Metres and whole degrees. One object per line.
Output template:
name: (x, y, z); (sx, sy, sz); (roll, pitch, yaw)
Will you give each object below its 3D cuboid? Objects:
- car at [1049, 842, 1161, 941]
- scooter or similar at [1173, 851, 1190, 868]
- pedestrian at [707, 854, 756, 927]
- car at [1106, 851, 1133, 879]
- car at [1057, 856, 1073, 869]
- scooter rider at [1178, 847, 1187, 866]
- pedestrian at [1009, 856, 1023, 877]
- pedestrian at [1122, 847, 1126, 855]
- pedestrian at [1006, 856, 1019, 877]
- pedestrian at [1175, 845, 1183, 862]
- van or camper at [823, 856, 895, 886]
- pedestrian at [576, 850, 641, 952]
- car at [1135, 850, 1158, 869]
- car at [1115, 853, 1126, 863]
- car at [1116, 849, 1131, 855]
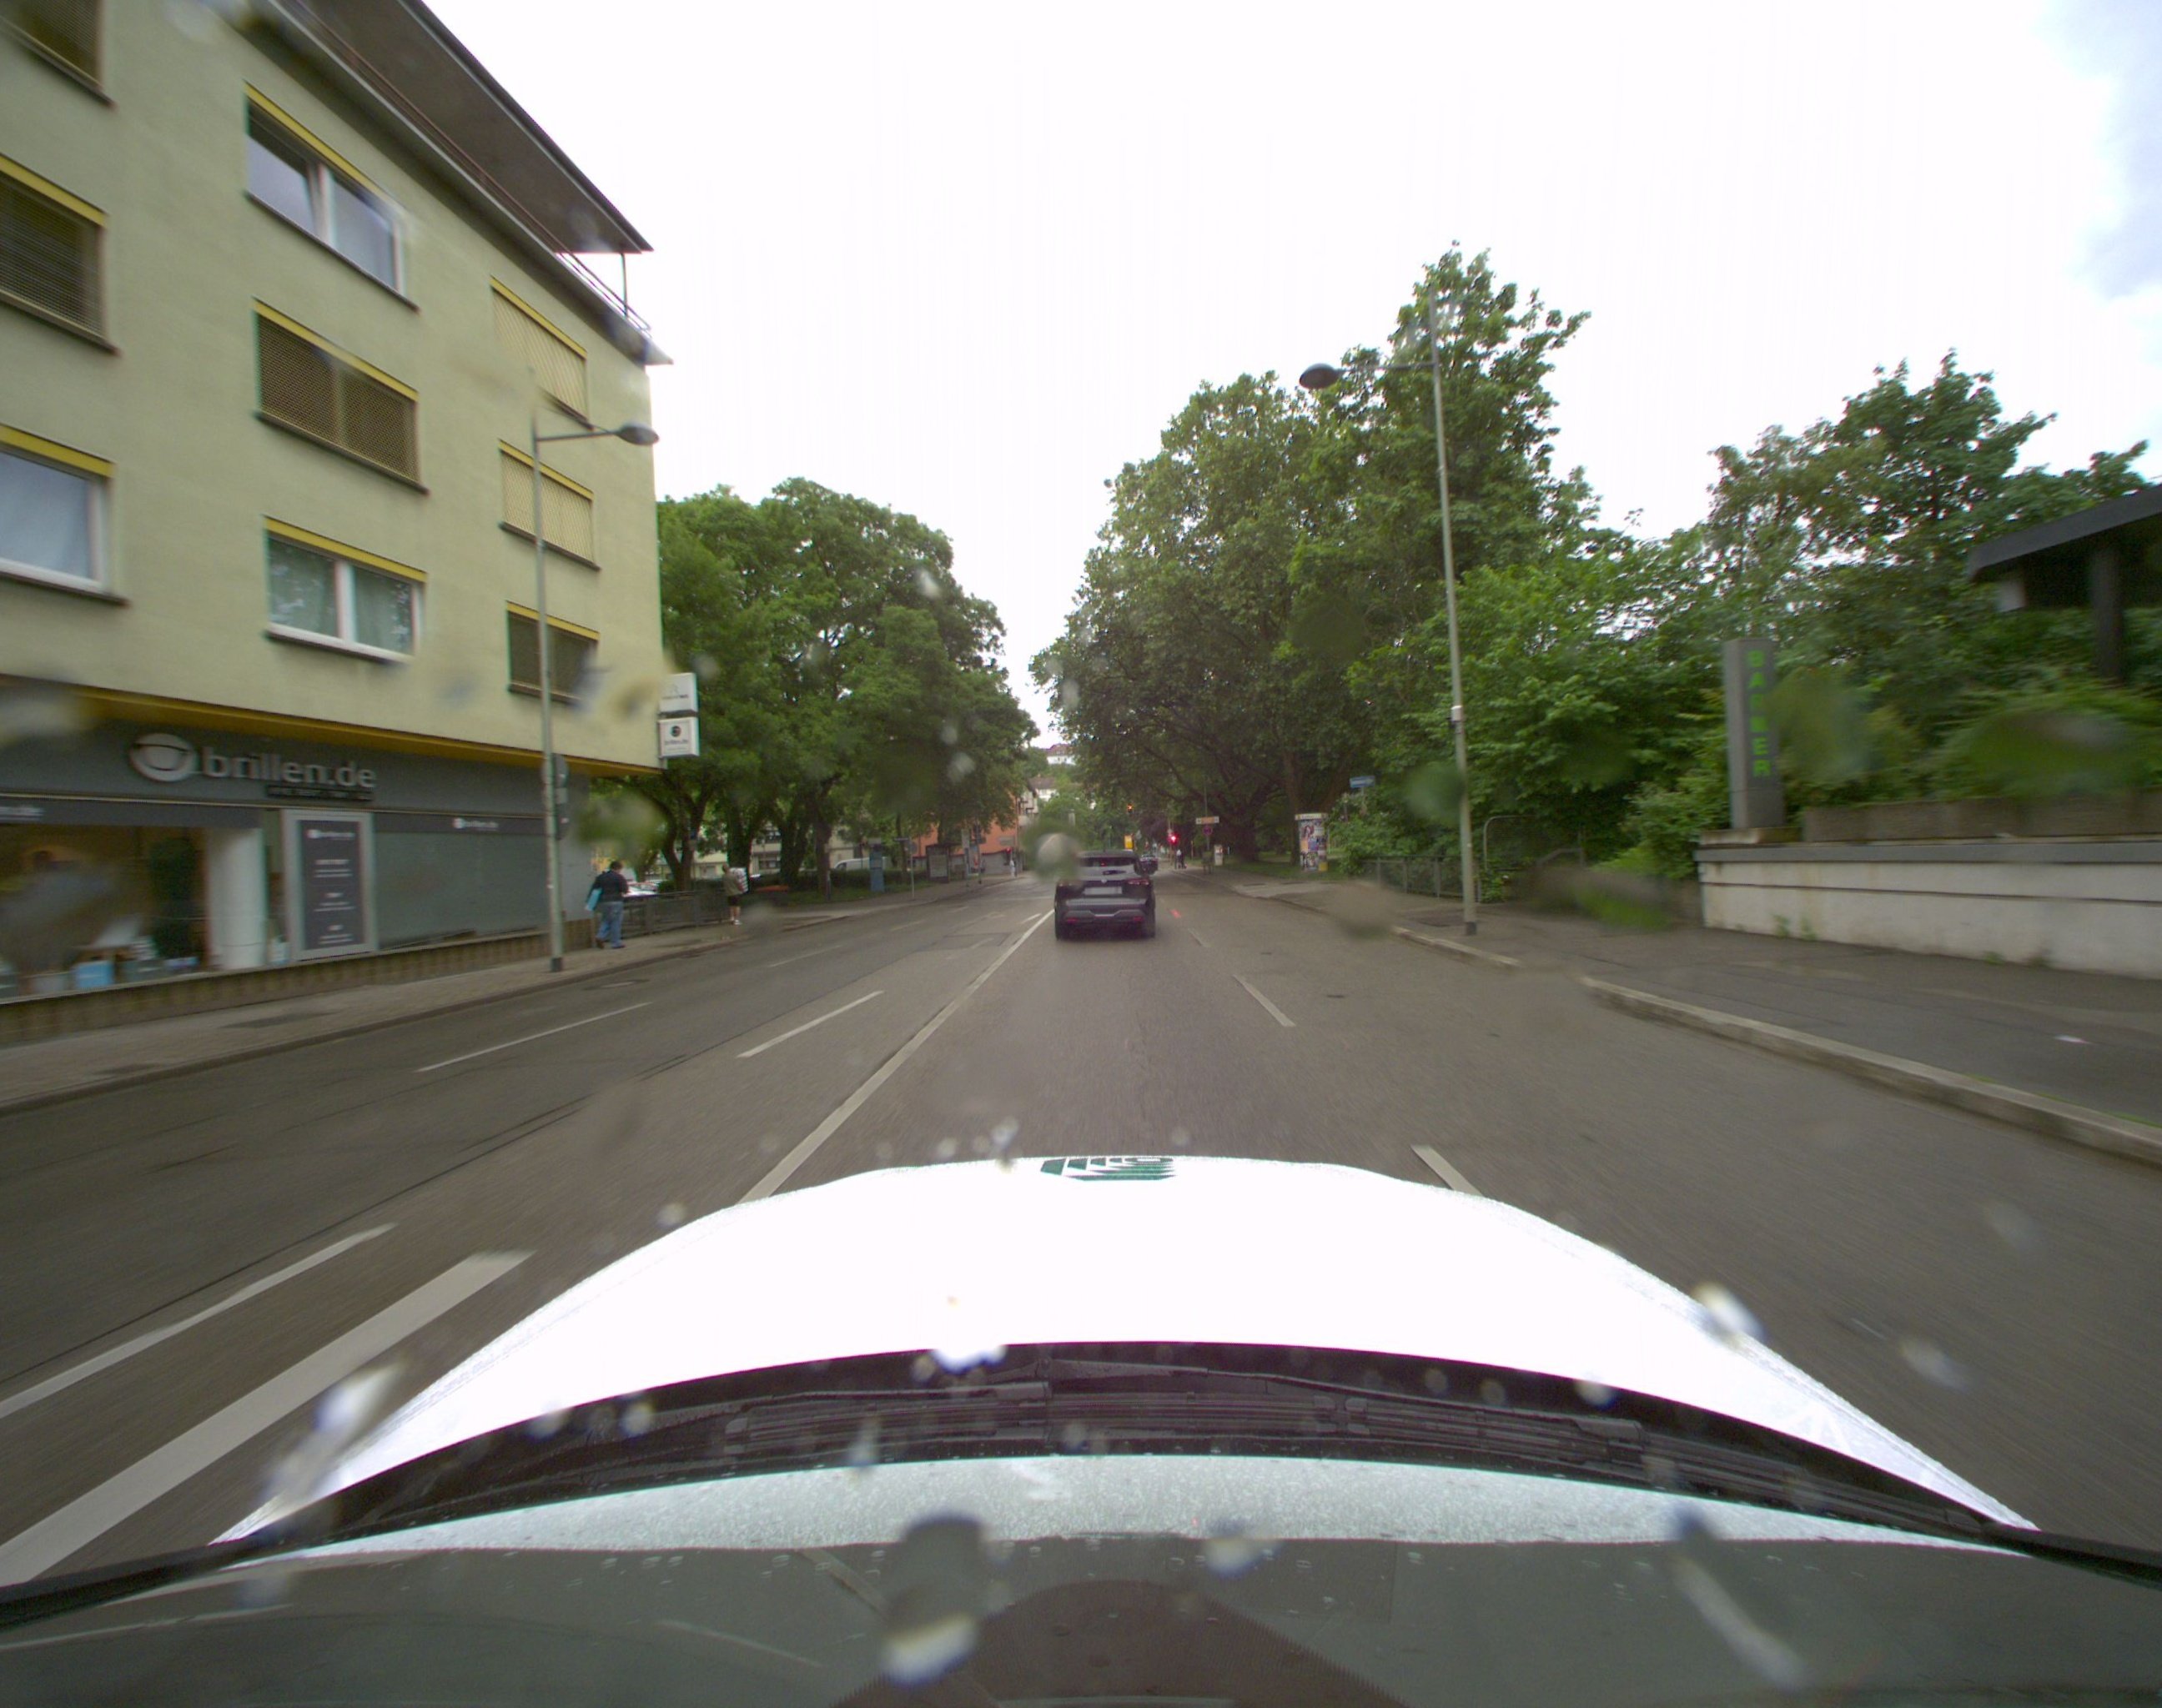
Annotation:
car: (0.507, 0.648, 16.047); (1.905, 1.680, 4.003); (-1, 0, 3)
scooter or similar: (9.479, 0.519, 76.689); (1.384, 1.446, 0.820); (-3, -1, 14)
pedestrian: (-9.639, 0.983, 22.482); (0.813, 1.924, 0.921); (-3, 0, 7)
car: (2.680, 0.720, 56.191); (1.692, 1.745, 3.643); (-4, 0, 2)
car: (-1.959, 1.048, 100.569); (1.790, 1.533, 3.865); (-4, 0, -1)
scooter rider: (9.545, 0.273, 76.675); (0.638, 1.766, 0.738); (-3, -2, 14)
pedestrian: (-5.972, 1.150, 74.829); (1.035, 1.876, 0.656); (-4, 0, -10)
pedestrian: (9.909, -0.713, 188.259); (0.503, 1.673, 0.663); (-4, 0, 30)
pedestrian: (-6.214, 1.145, 74.054); (1.035, 1.876, 0.656); (-4, 0, -10)
pedestrian: (11.999, -0.076, 99.618); (0.722, 2.013, 0.852); (-3, 0, 2)
van or camper: (-16.005, 1.212, 58.835); (4.581, 1.949, 2.000); (-3, 0, 0)
pedestrian: (-9.671, 0.934, 16.694); (0.746, 2.013, 0.784); (-3, 0, 9)
car: (6.290, 0.516, 77.889); (1.983, 1.735, 4.008); (0, -1, 7)
car: (6.466, 0.641, 132.880); (1.628, 1.532, 3.970); (-4, 0, 2)
car: (11.658, -0.488, 223.932); (4.000, 1.668, 1.702); (0, -1, 0)
